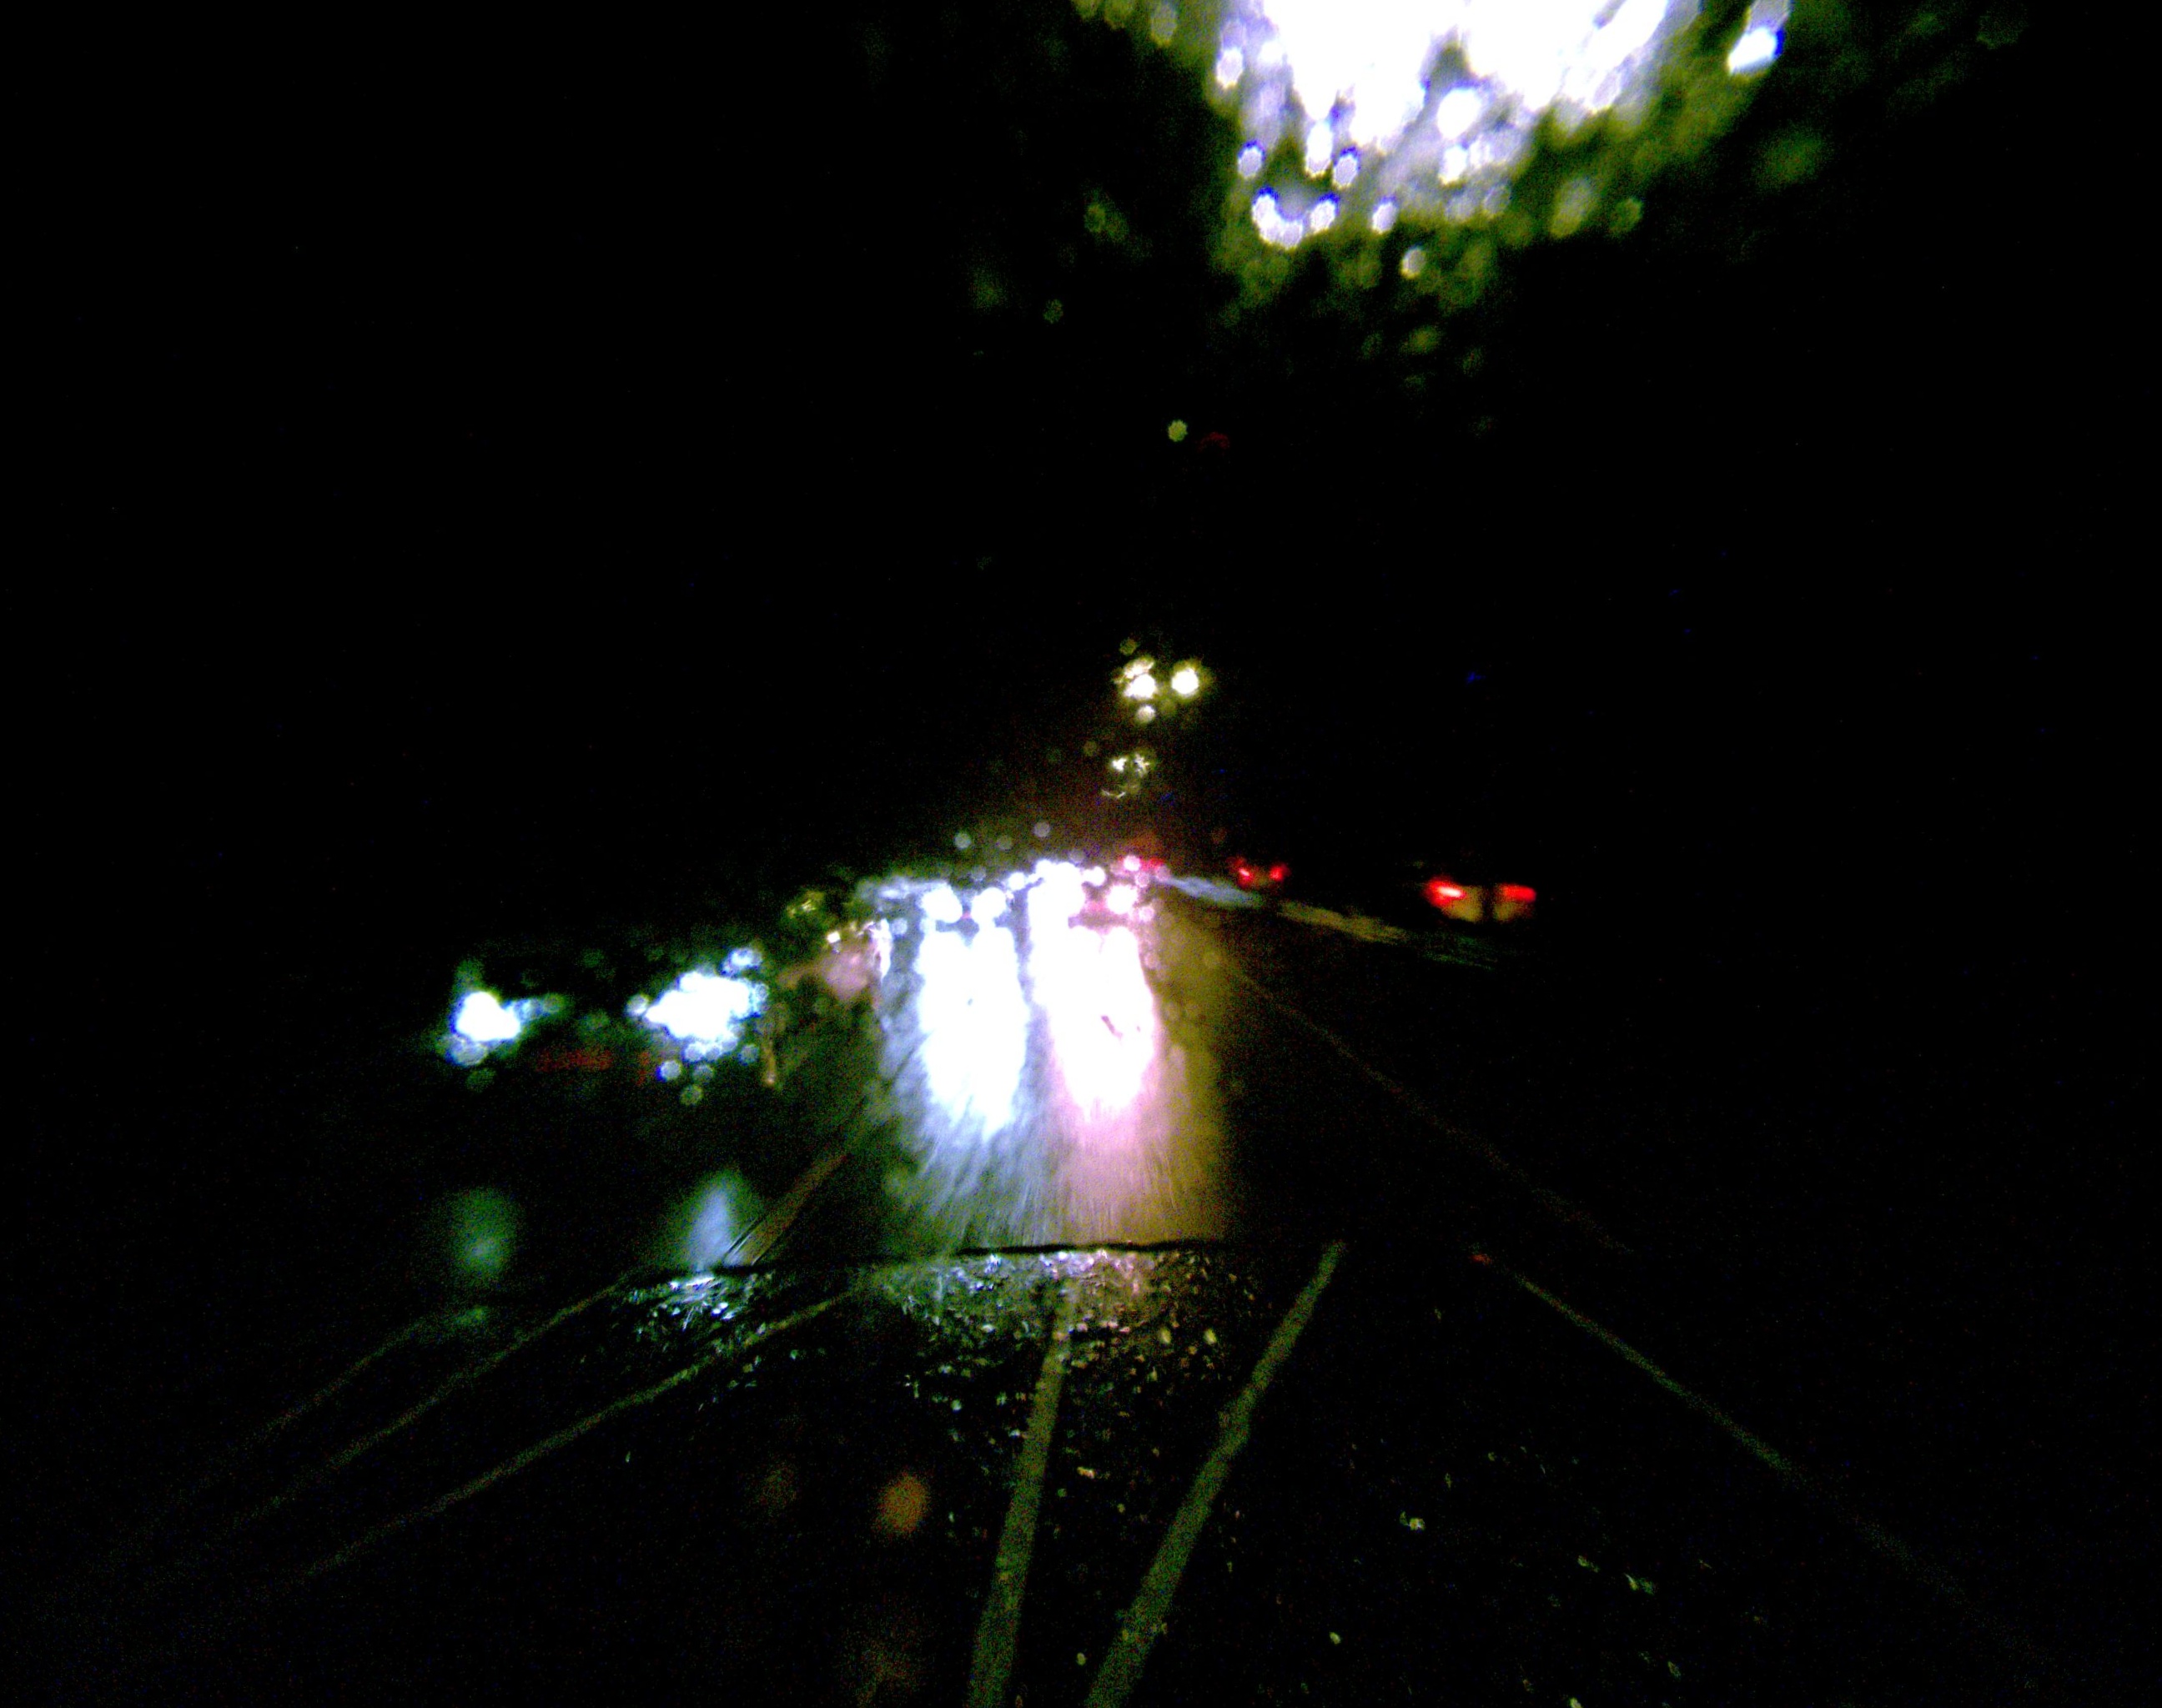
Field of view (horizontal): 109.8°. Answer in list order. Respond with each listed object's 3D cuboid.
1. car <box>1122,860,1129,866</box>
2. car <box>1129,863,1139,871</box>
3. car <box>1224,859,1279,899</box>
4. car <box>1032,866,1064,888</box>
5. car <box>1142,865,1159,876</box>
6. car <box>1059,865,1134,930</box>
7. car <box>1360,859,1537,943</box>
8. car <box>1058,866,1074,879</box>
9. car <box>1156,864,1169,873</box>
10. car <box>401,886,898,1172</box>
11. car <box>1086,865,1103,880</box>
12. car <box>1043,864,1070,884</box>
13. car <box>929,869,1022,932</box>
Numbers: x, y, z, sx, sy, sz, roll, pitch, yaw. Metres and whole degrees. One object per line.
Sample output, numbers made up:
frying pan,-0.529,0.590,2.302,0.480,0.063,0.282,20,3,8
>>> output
car,11.726,2.368,199.375,1.756,1.543,4.010,0,-1,0
car,9.664,2.290,139.150,1.614,1.373,4.747,-2,-1,1
car,7.540,1.064,33.985,1.624,1.641,4.000,0,0,1
car,-2.295,1.593,54.206,1.998,1.455,4.001,-1,-1,1
car,9.049,2.139,99.072,1.860,1.467,4.779,0,-1,0
car,0.423,1.096,20.460,1.764,1.492,4.000,-2,0,1
car,7.694,0.912,16.395,1.572,1.533,4.160,2,0,-3
car,-1.933,2.401,99.907,1.998,1.656,4.000,-1,0,0
car,13.160,2.314,122.760,1.614,1.373,4.165,1,-1,1
car,-3.075,1.115,6.784,1.736,1.440,4.725,-2,0,-1
car,1.789,2.447,101.868,1.999,1.774,3.999,-3,0,-1
car,-2.013,1.622,62.945,1.998,1.531,4.001,-1,-1,1
car,-2.782,1.194,21.082,1.826,1.476,4.568,-2,0,1
